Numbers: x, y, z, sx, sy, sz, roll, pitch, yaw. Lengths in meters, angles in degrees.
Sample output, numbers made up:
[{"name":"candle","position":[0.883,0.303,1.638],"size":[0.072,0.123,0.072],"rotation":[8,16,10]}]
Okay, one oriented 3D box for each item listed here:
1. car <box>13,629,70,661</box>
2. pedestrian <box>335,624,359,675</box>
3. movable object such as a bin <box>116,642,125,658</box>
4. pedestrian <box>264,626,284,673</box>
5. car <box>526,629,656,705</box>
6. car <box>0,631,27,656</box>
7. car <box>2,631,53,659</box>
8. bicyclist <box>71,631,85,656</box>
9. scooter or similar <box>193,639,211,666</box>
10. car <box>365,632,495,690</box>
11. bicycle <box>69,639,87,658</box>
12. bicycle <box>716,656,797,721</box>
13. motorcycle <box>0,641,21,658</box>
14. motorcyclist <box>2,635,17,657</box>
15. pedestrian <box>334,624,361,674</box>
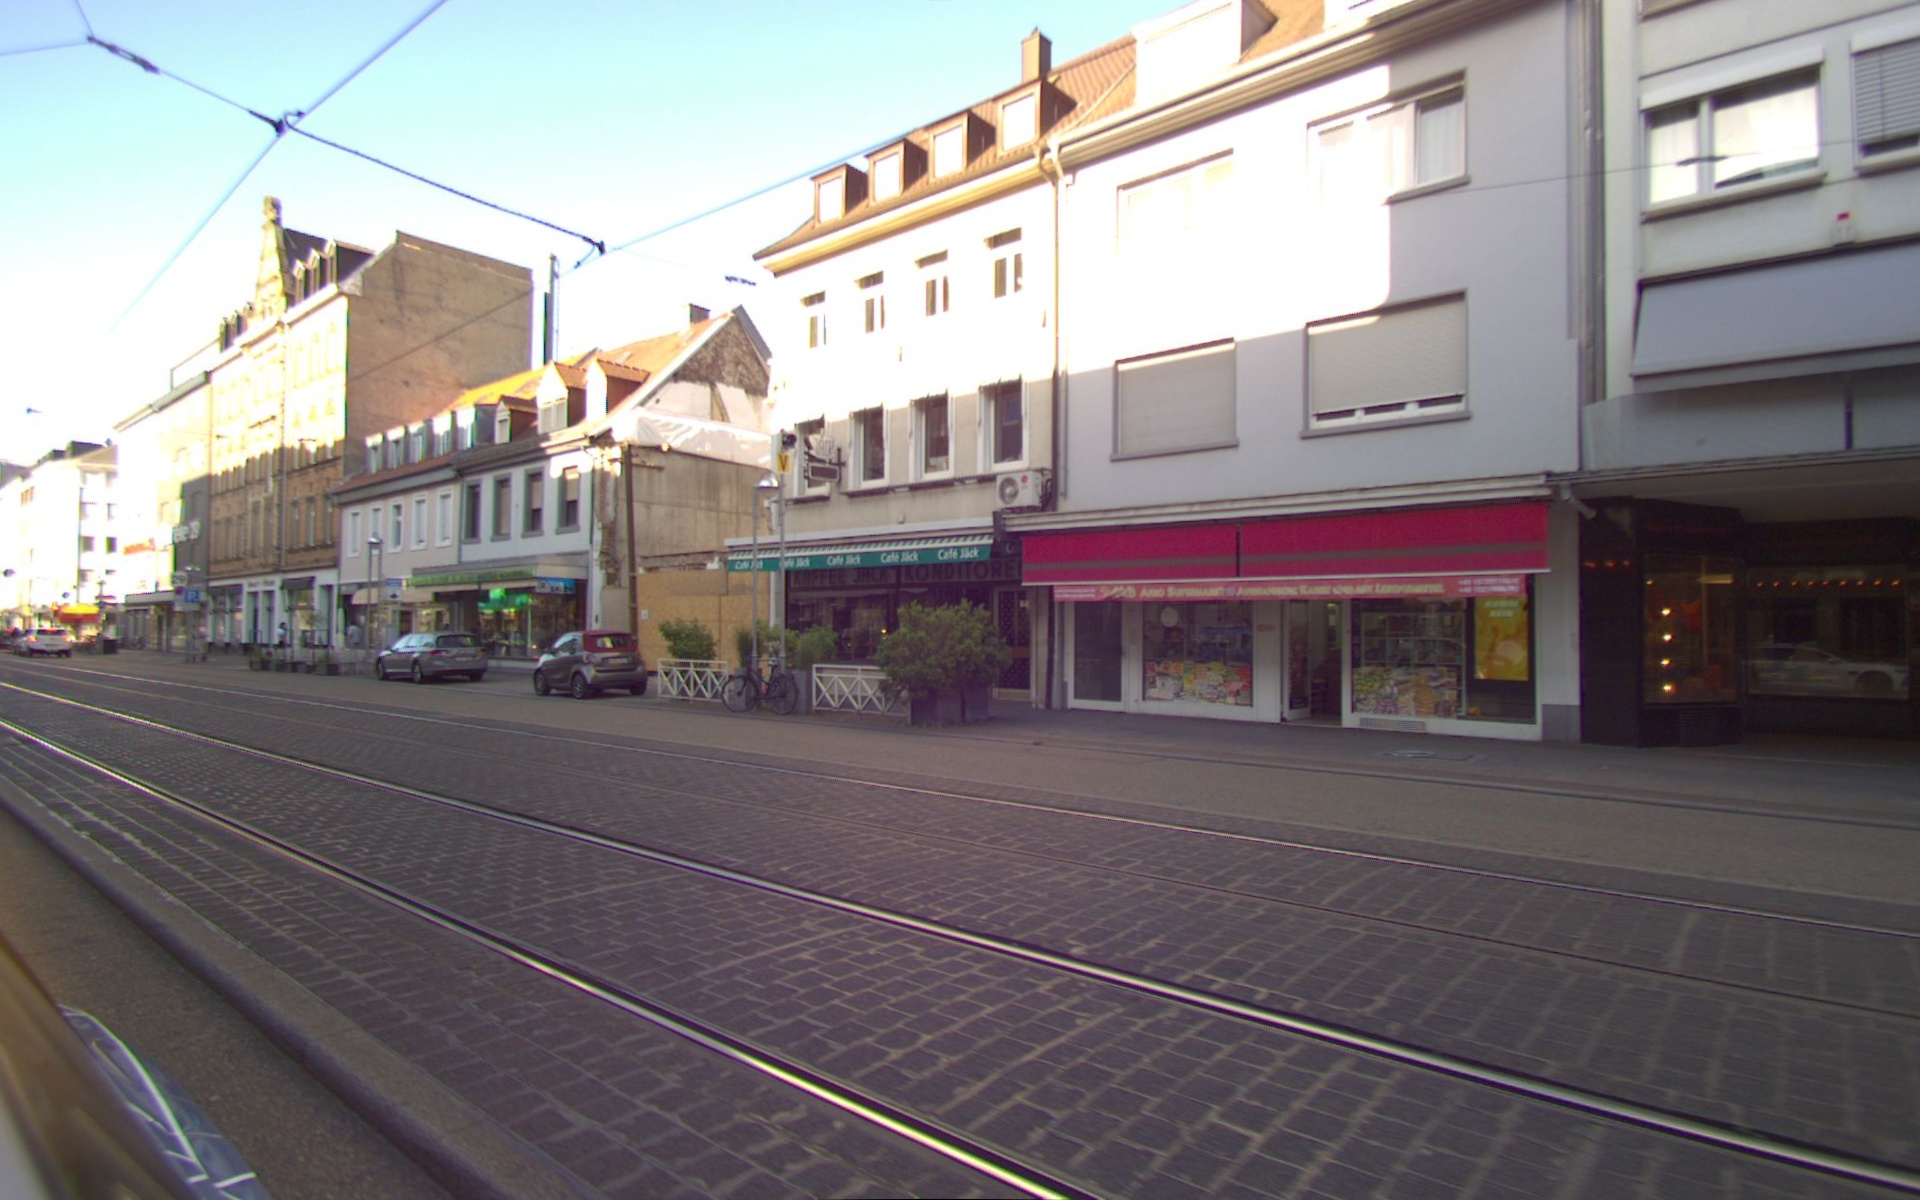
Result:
[{"name":"car","position":[-49.069,2.399,54.058],"size":[3.674,1.647,1.779],"rotation":[-1,-3,41]},{"name":"pedestrian","position":[-22.807,1.821,37.664],"size":[0.647,1.863,0.584],"rotation":[-1,0,-19]},{"name":"movable object such as a bin","position":[-52.220,3.121,62.953],"size":[0.467,0.955,0.321],"rotation":[-2,-3,40]},{"name":"pedestrian","position":[-26.891,1.930,39.659],"size":[0.572,1.819,0.660],"rotation":[-1,0,-38]},{"name":"car","position":[-8.737,1.532,23.921],"size":[2.889,1.616,1.680],"rotation":[-1,-1,40]},{"name":"car","position":[-61.321,2.755,64.900],"size":[3.997,1.542,1.645],"rotation":[-1,-3,41]},{"name":"car","position":[-54.169,2.605,58.785],"size":[3.997,1.542,1.645],"rotation":[-1,-3,41]},{"name":"bicyclist","position":[-56.282,2.773,64.563],"size":[0.861,1.559,0.569],"rotation":[-1,0,40]},{"name":"scooter or similar","position":[-35.579,2.460,47.488],"size":[1.201,1.232,0.399],"rotation":[-1,0,41]},{"name":"car","position":[-15.851,1.751,30.142],"size":[4.759,1.526,1.798],"rotation":[-1,-2,41]},{"name":"bicycle","position":[-56.250,3.076,64.543],"size":[2.099,1.157,0.603],"rotation":[-1,0,41]},{"name":"bicycle","position":[-3.781,1.610,18.727],"size":[1.715,1.098,0.513],"rotation":[-1,0,41]},{"name":"motorcycle","position":[-57.753,3.012,61.408],"size":[1.934,1.000,0.895],"rotation":[-1,-3,41]},{"name":"motorcyclist","position":[-57.723,2.777,61.434],"size":[0.654,1.313,0.533],"rotation":[-1,-4,40]},{"name":"pedestrian","position":[-22.309,1.764,36.874],"size":[0.580,1.775,0.651],"rotation":[-1,0,32]}]
